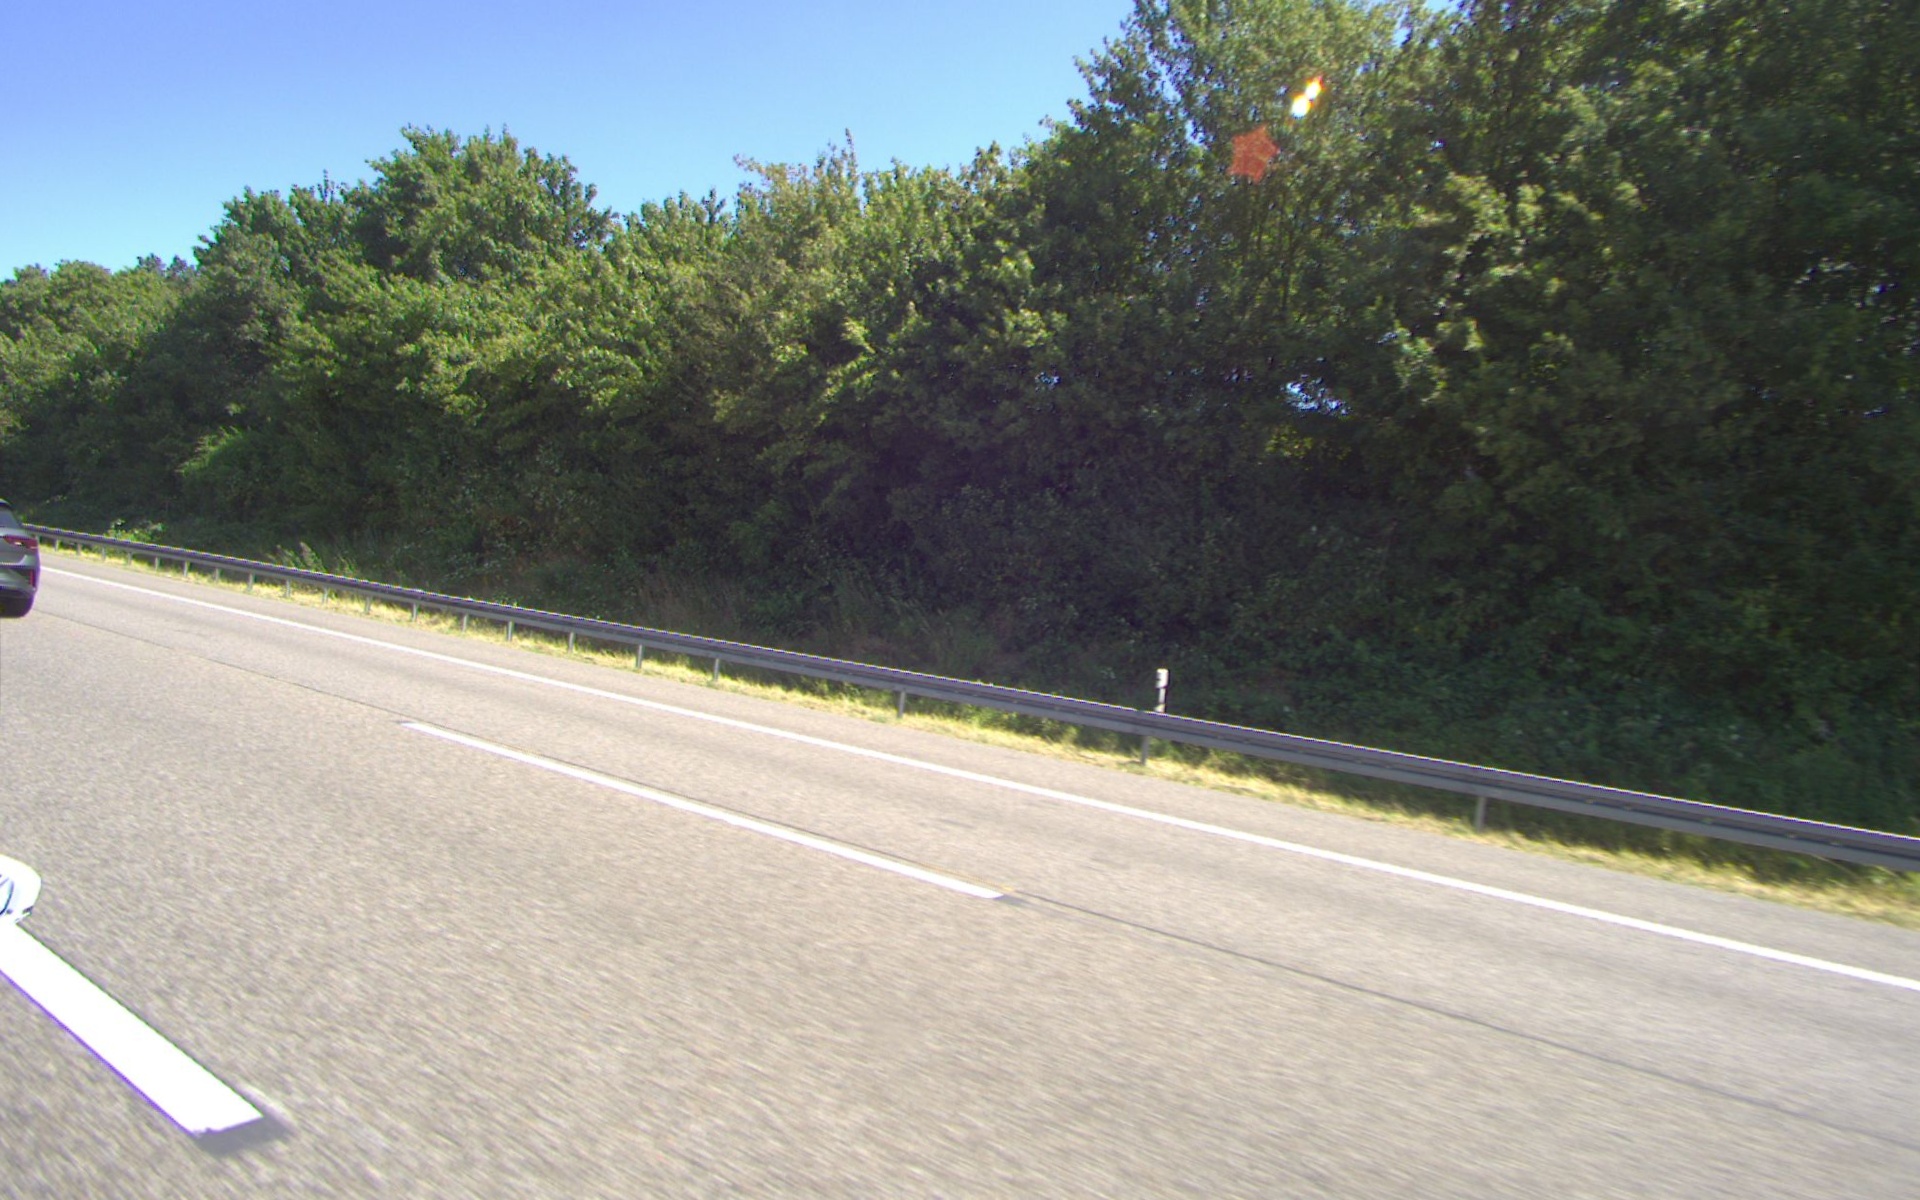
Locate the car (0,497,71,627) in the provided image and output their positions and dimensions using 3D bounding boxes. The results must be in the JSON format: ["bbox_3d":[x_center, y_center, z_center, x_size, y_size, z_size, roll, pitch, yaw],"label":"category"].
[{"bbox_3d":[-13.913,-0.742,13.233,4.680,1.550,1.903,7,-1,31],"label":"car"}]
